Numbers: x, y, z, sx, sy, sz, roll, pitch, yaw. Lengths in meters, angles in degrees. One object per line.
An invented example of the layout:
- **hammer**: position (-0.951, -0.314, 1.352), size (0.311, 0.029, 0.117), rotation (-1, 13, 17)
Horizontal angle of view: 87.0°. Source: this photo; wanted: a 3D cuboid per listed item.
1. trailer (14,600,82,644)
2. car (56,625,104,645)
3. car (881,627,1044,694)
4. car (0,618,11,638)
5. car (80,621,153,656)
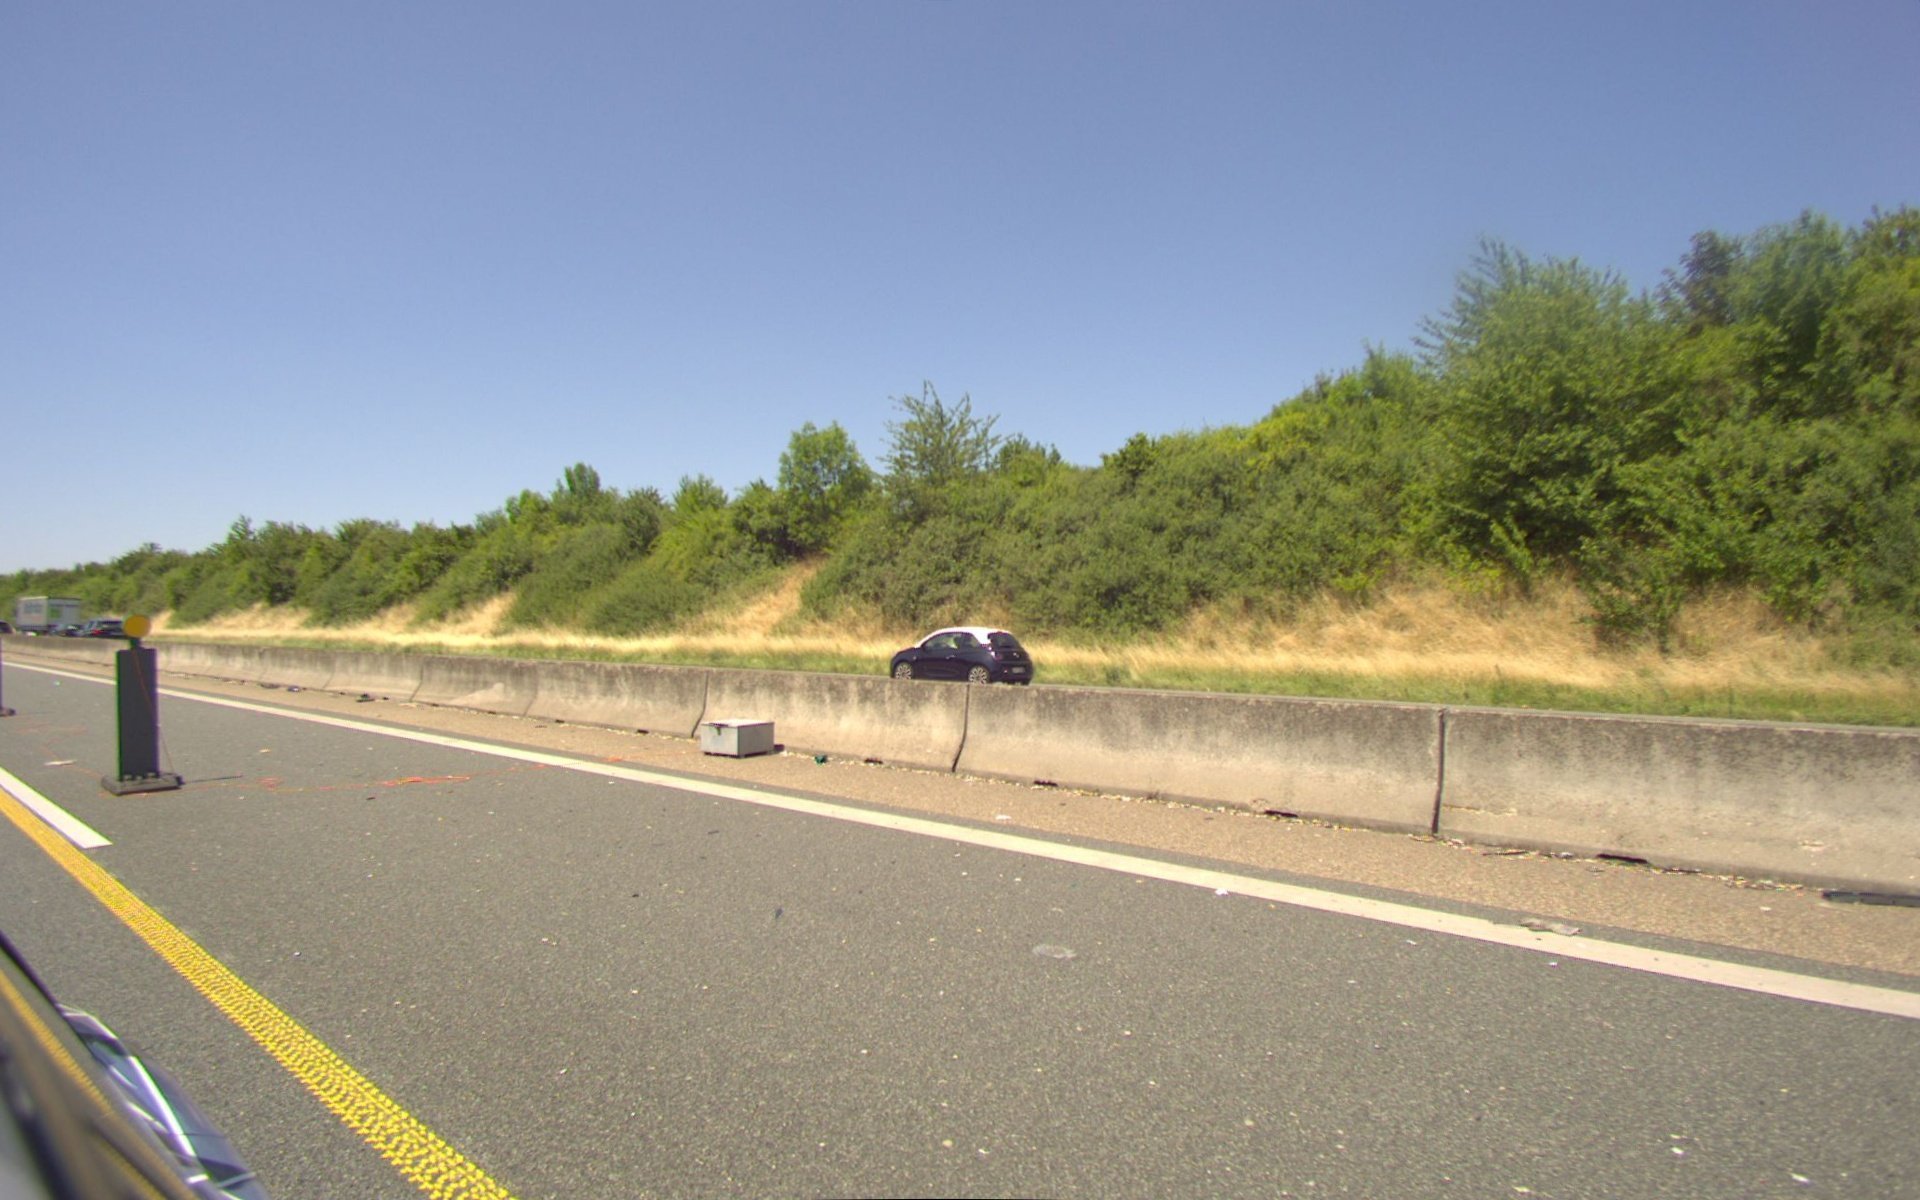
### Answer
- **trailer**: position (-91.366, 2.248, 101.283), size (13.625, 4.093, 2.923), rotation (-1, -4, 40)
- **car**: position (-65.595, 2.587, 75.407), size (4.582, 1.472, 1.974), rotation (-1, -2, 39)
- **car**: position (0.004, 1.372, 23.942), size (3.776, 1.475, 1.557), rotation (-1, -2, 41)
- **car**: position (-72.788, 2.129, 75.863), size (4.485, 1.472, 1.830), rotation (-1, -2, 40)
- **car**: position (-41.090, 1.854, 49.274), size (4.580, 1.612, 1.973), rotation (-1, -2, 41)
